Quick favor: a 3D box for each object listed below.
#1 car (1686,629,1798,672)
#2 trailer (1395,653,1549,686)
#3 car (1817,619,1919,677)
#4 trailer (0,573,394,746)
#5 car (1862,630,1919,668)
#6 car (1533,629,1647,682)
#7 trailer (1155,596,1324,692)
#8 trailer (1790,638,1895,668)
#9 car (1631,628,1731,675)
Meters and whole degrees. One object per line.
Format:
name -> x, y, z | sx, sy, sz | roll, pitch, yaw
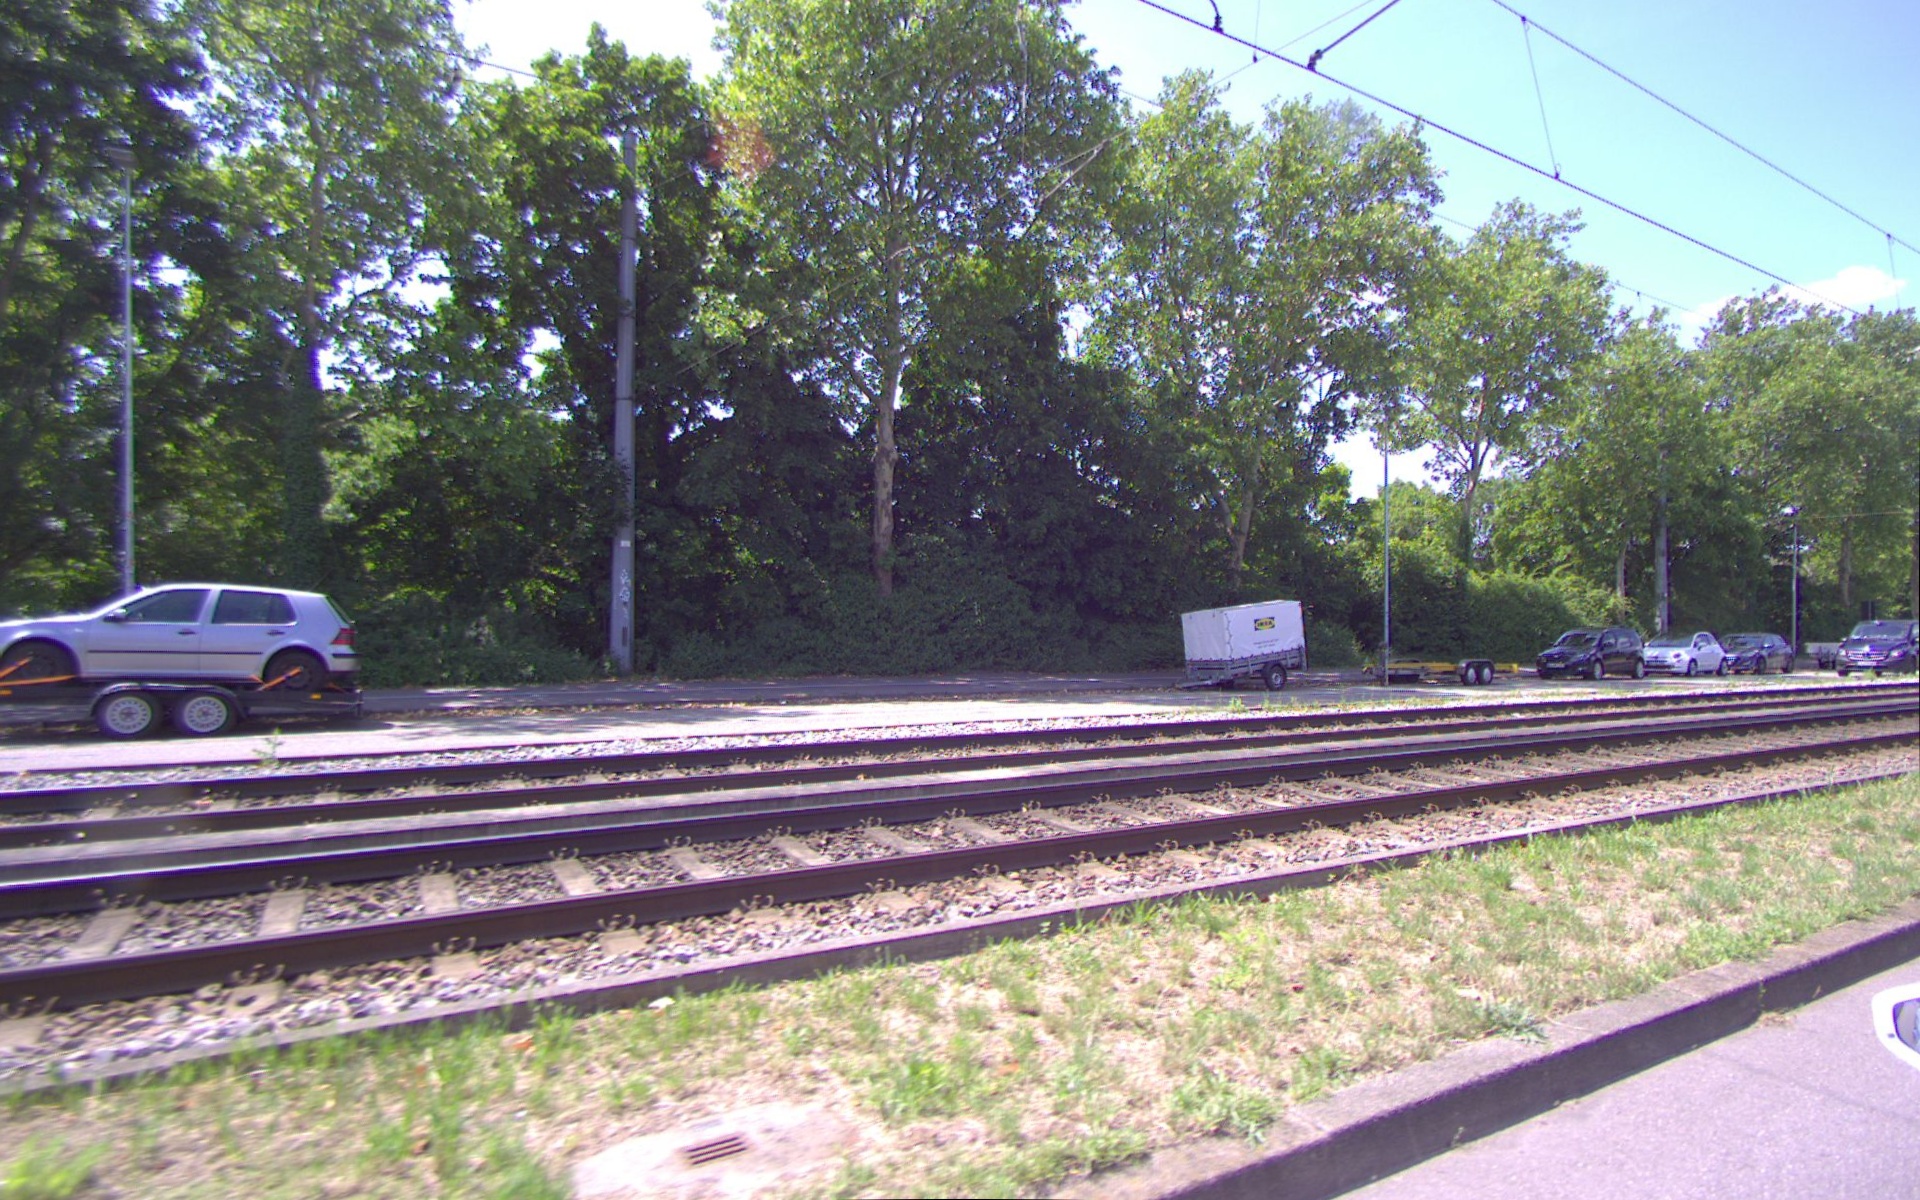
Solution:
car -> 28.664, 1.813, 36.779 | 4.369, 1.419, 1.860 | 1, 0, -32
trailer -> 14.070, 1.906, 27.589 | 3.954, 0.752, 1.984 | 2, -1, -31
car -> 31.574, 1.598, 34.160 | 5.342, 1.814, 2.106 | 1, 0, -31
trailer -> -10.598, 0.665, 12.616 | 5.901, 1.914, 2.446 | 1, 0, -35
car -> 43.496, 2.236, 46.114 | 3.954, 1.595, 1.984 | 1, 0, -31
car -> 19.355, 1.668, 30.825 | 3.878, 1.470, 1.426 | 1, 0, -32
trailer -> 6.536, 0.963, 23.371 | 3.874, 2.041, 1.600 | 1, 1, -33
trailer -> 36.792, 2.160, 41.840 | 5.046, 1.058, 1.883 | 1, 1, -32
car -> 24.336, 1.700, 33.870 | 3.699, 1.470, 1.426 | 1, 0, -32
